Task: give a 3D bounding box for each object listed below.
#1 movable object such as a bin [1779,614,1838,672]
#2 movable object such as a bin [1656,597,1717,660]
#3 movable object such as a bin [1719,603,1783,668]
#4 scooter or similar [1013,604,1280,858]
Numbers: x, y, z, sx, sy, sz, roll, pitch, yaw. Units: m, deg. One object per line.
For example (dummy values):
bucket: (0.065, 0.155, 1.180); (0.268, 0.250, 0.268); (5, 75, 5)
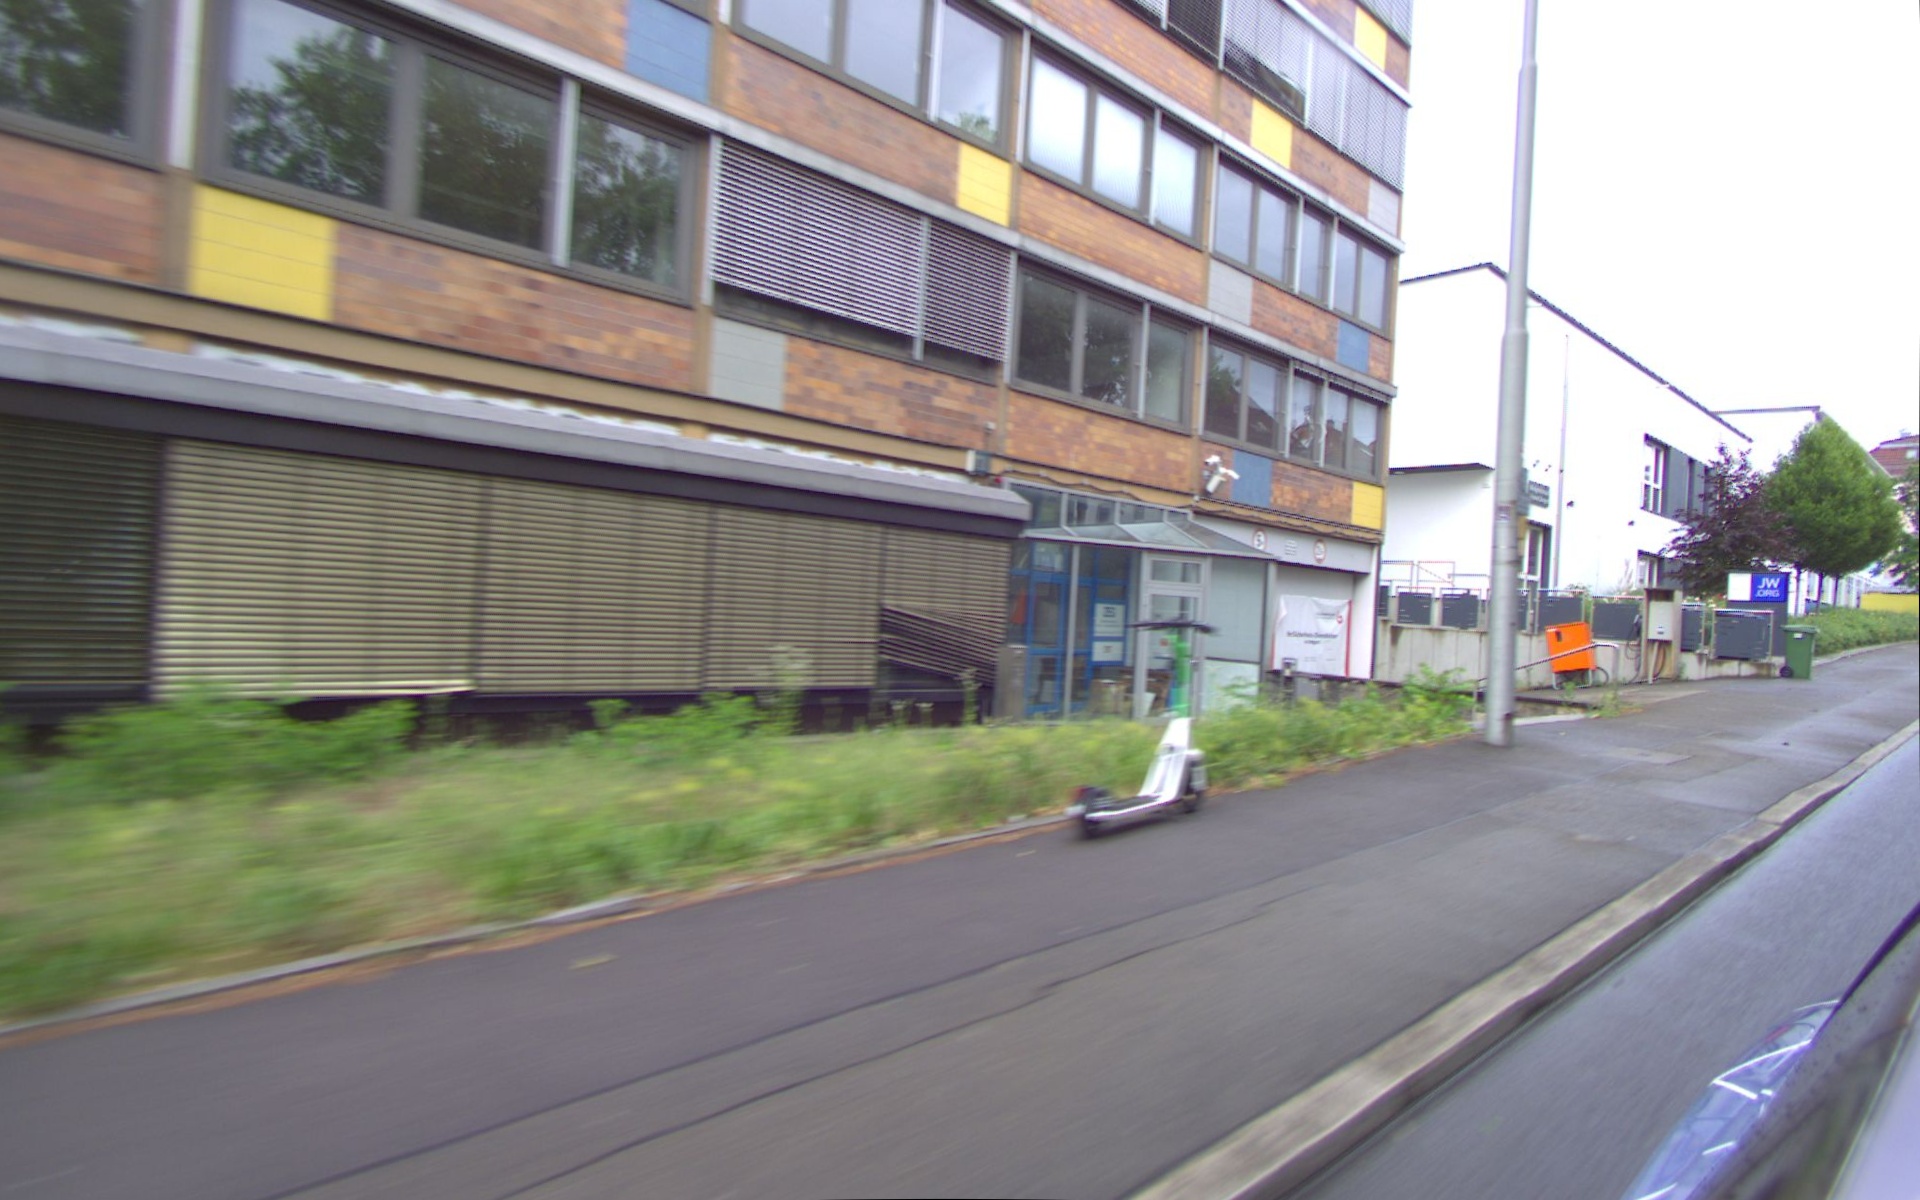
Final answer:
movable object such as a bin: (15.023, 0.751, 17.924); (0.673, 0.947, 0.621); (1, 4, -39)
movable object such as a bin: (13.752, 0.531, 19.152); (0.764, 1.095, 0.697); (1, 4, -39)
movable object such as a bin: (14.409, 0.631, 18.430); (0.764, 1.095, 0.697); (1, 4, -39)
scooter or similar: (1.088, 0.630, 5.644); (0.605, 1.176, 1.672); (3, 2, 45)
